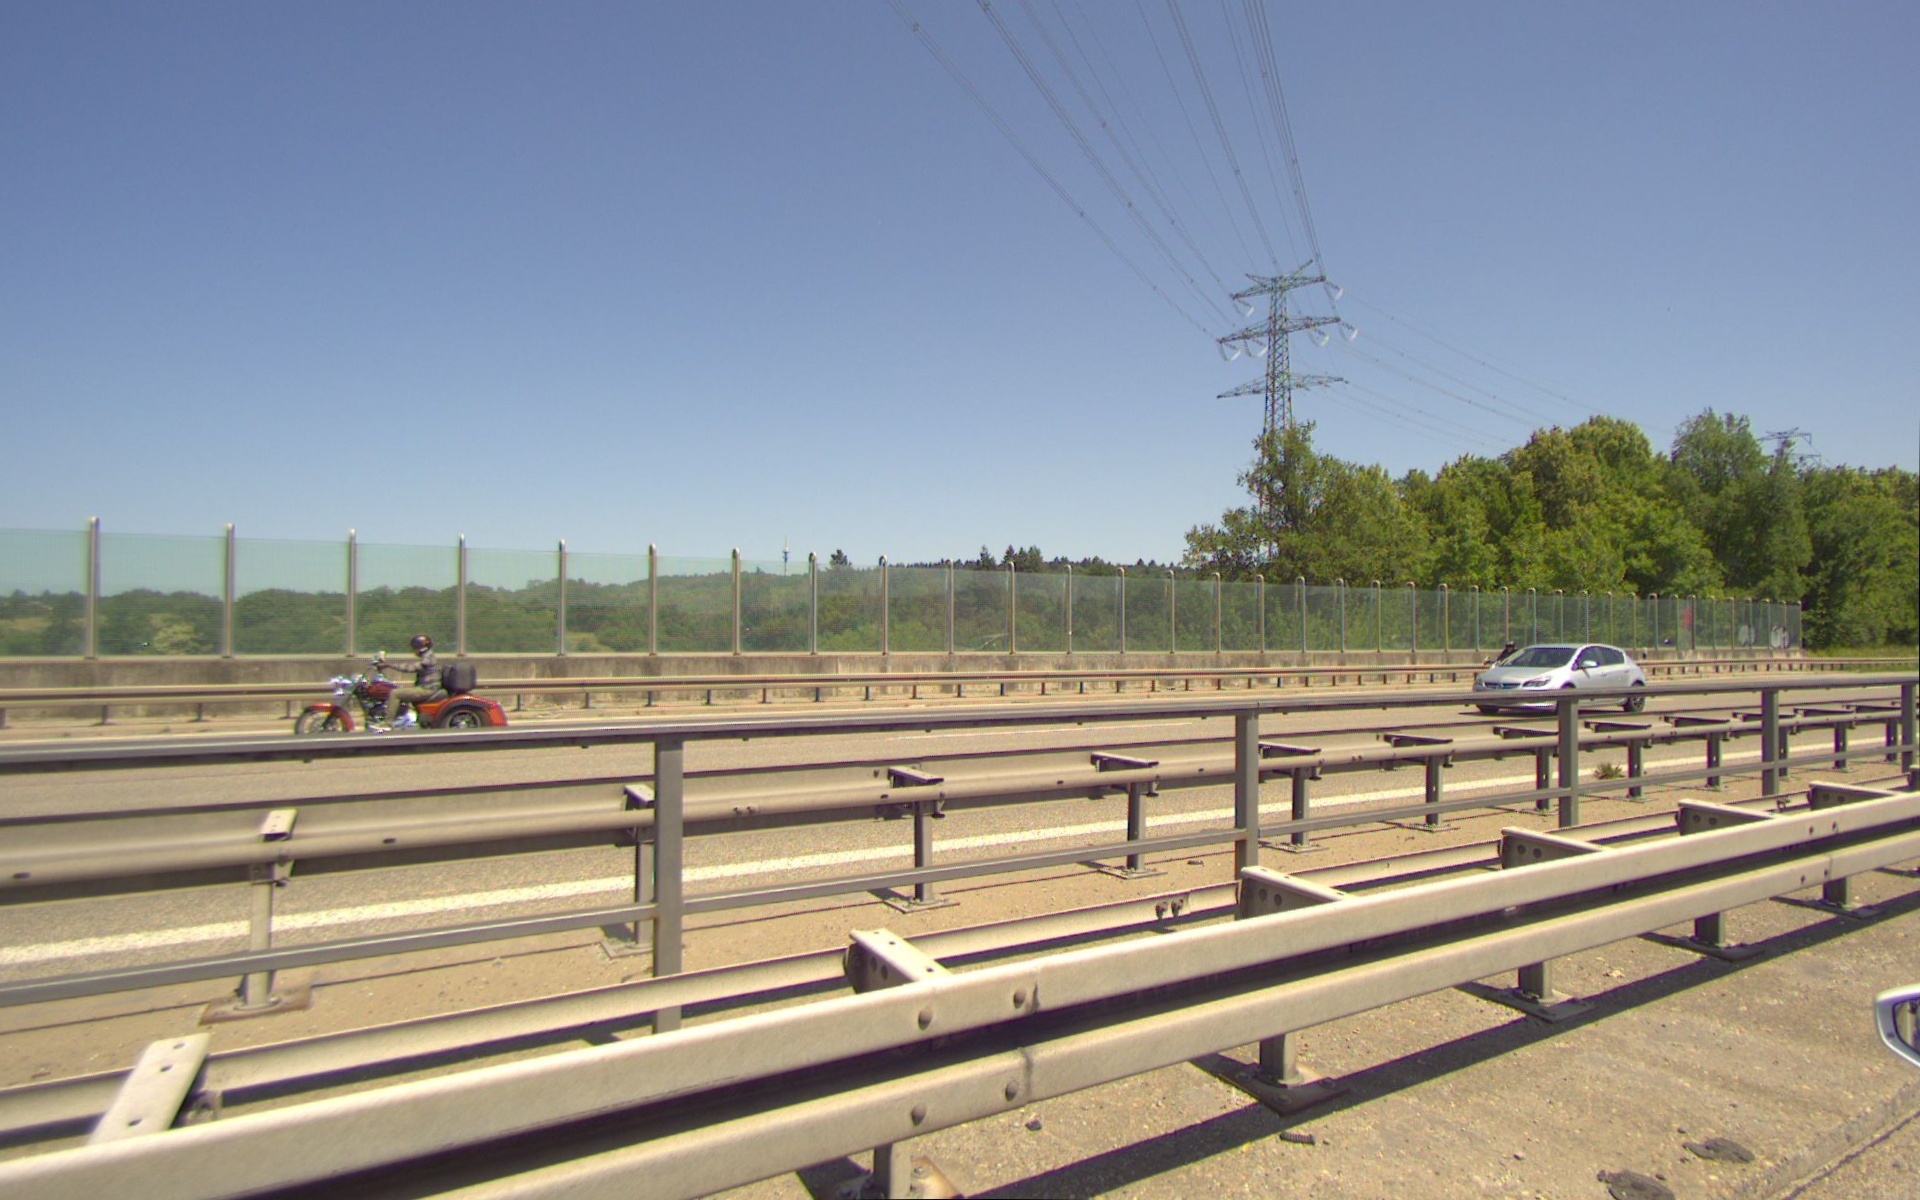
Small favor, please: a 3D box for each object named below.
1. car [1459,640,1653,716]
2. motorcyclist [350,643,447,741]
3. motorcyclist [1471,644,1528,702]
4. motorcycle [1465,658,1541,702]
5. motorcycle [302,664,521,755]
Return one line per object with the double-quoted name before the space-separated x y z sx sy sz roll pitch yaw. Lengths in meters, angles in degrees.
"car" 12.555 1.599 21.106 4.127 1.453 1.707 2 -4 -30
"motorcyclist" -7.740 1.239 13.873 1.106 1.273 1.181 1 -3 -30
"motorcyclist" 14.387 1.929 26.782 1.070 1.460 0.893 0 -1 -30
"motorcycle" 14.524 2.122 26.859 2.278 1.085 0.698 0 -1 -30
"motorcycle" -7.560 1.470 13.961 2.546 1.113 1.360 1 -4 -30
